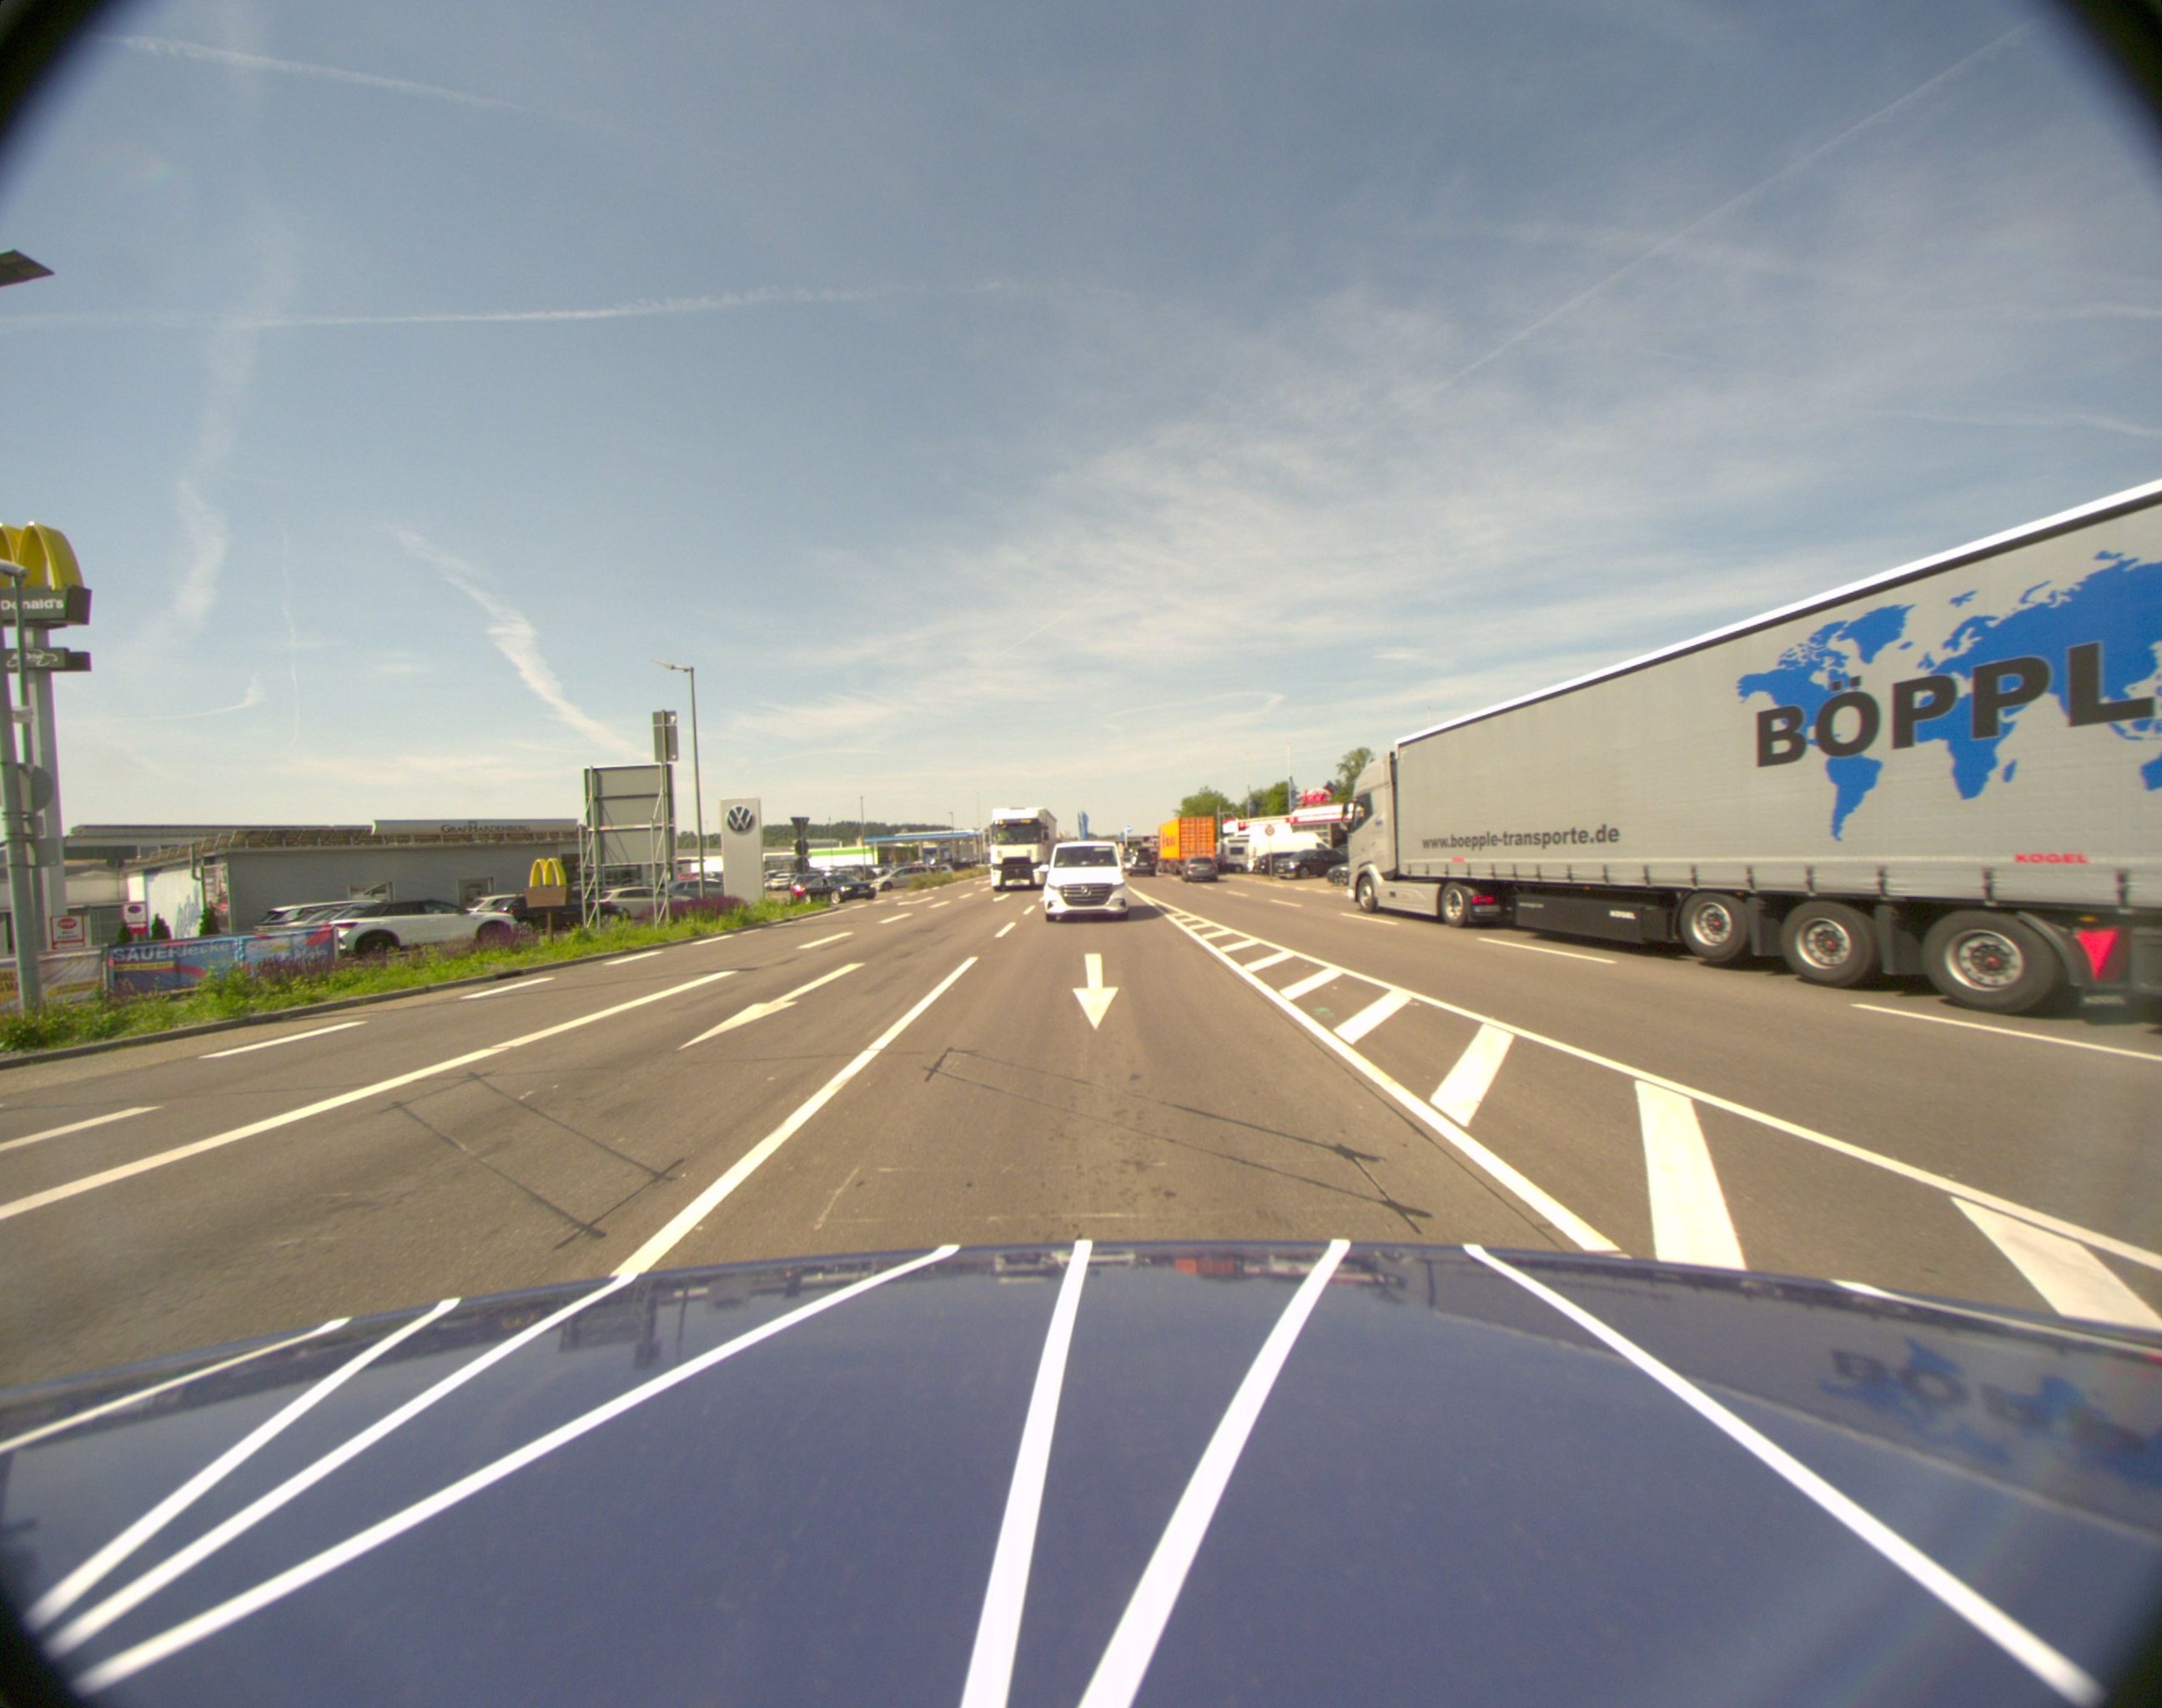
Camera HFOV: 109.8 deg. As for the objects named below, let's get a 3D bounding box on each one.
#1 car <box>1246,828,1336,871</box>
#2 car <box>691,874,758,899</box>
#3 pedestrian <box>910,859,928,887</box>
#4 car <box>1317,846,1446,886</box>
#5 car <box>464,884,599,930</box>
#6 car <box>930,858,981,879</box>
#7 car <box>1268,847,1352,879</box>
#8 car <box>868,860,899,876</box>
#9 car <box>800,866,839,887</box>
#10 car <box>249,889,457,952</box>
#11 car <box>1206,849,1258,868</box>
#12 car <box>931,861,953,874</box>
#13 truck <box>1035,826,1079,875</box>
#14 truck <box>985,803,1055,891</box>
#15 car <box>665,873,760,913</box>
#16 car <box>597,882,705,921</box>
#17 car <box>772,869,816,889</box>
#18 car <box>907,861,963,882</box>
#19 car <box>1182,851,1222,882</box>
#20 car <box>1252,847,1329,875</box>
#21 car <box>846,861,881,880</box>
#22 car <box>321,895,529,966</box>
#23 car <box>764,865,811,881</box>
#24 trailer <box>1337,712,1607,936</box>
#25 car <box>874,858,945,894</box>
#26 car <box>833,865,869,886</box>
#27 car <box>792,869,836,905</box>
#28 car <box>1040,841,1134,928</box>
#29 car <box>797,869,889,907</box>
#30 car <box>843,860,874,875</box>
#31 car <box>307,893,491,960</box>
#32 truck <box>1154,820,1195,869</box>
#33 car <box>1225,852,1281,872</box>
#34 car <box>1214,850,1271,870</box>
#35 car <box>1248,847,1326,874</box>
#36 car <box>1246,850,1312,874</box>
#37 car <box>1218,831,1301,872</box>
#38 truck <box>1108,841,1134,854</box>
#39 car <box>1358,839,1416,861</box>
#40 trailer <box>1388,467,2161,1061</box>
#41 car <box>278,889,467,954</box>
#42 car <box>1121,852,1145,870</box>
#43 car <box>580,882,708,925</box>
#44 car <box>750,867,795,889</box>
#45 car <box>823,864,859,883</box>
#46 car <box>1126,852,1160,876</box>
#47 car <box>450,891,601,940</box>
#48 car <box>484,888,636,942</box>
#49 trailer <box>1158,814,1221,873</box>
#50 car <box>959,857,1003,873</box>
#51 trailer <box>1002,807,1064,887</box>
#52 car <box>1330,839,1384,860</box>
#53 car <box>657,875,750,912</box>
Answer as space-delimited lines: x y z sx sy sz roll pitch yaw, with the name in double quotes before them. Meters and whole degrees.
"car" 14.711 -0.278 53.408 5.722 2.822 2.117 -2 0 3
"car" -25.922 2.359 55.285 4.084 1.599 1.689 -2 -1 -41
"pedestrian" -11.400 1.312 53.526 0.990 1.900 0.742 -2 1 -33
"car" 12.660 0.522 32.222 4.629 1.428 1.978 -4 0 44
"car" -21.832 2.048 30.325 1.771 1.509 3.968 -1 1 37
"car" -10.998 1.245 66.695 4.006 1.645 1.772 -2 1 -32
"car" 12.770 0.476 42.359 4.189 1.613 2.026 -2 1 -27
"car" -22.370 1.523 86.161 1.774 1.645 4.540 -2 0 6
"car" -23.028 1.991 67.121 1.968 1.645 4.536 -2 0 -3
"car" -24.704 2.157 25.977 1.907 1.661 4.827 -1 1 37
"car" 12.642 0.356 63.727 3.997 1.445 1.906 -2 1 1
"car" -18.698 1.802 102.324 1.774 1.571 4.149 -2 0 6
"truck" -1.960 -0.313 66.482 2.646 3.963 9.241 -2 0 5
"truck" -2.907 -0.342 37.985 2.647 3.963 6.042 -2 0 2
"car" -18.200 1.887 37.555 4.031 1.661 1.772 -2 1 -29
"car" -19.285 2.088 34.237 1.745 1.467 3.803 -1 1 37
"car" -25.961 2.246 68.901 1.774 1.645 4.540 -2 0 6
"car" -11.663 1.362 60.810 4.005 1.549 1.709 -2 1 -27
"car" 6.737 0.680 42.656 1.925 1.593 4.590 -1 0 5
"car" 12.549 0.398 45.661 4.044 1.521 2.031 -2 1 1
"car" -20.842 1.549 72.969 1.774 1.645 4.539 -2 0 4
"car" -18.927 2.125 22.107 1.855 1.567 4.241 -1 1 37
"car" -30.245 1.947 78.423 1.819 1.423 4.491 -1 0 23
"trailer" 8.312 -0.574 17.171 2.652 4.081 6.179 -2 0 -2
"car" -11.675 1.467 51.880 4.355 2.200 1.760 -2 1 -29
"car" -20.342 1.891 67.316 1.908 1.645 4.708 -2 0 -3
"car" -14.377 1.711 40.749 1.778 1.645 4.069 -4 1 -25
"car" 0.180 0.651 19.497 1.993 1.858 5.803 -2 0 1
"car" -11.084 1.586 35.217 1.969 1.325 4.805 -8 2 -44
"car" -27.007 1.627 92.335 1.773 1.645 4.541 -2 0 10
"car" -21.104 2.167 23.650 1.771 1.661 3.917 -1 1 37
"truck" 7.888 -0.784 65.048 2.727 3.975 6.057 -2 1 1
"car" 13.207 0.626 58.596 3.948 1.423 1.828 -2 1 3
"car" 12.957 0.479 61.158 4.258 1.459 1.874 -2 1 2
"car" 13.102 0.403 48.522 4.378 1.521 2.029 -2 1 0
"car" 13.255 0.510 51.079 3.996 1.461 1.881 -2 1 3
"car" 13.076 -0.184 55.810 5.579 2.757 2.177 -2 1 3
"truck" 9.272 -1.432 176.390 6.025 2.820 2.448 -1 1 44
"car" 24.960 -0.333 62.044 4.002 1.597 1.986 -2 0 -14
"trailer" 8.623 -0.668 10.164 2.699 4.123 13.874 -2 0 -3
"car" -22.843 2.109 24.649 1.771 1.661 4.178 -1 1 37
"car" 4.640 0.636 67.962 1.866 1.515 4.589 -1 0 1
"car" -18.272 2.017 31.966 1.744 1.483 4.272 -1 1 37
"car" -28.459 2.190 70.269 1.821 1.719 4.540 -2 0 6
"car" -23.109 1.825 73.282 1.774 1.645 4.434 -2 0 4
"car" 4.305 0.665 53.678 1.913 1.593 4.588 0 0 -1
"car" -20.624 2.228 28.372 1.791 1.442 4.163 -1 1 37
"car" -18.570 2.110 27.269 1.771 1.523 4.098 -1 1 37
"trailer" 7.971 -0.750 57.688 2.728 3.975 12.232 -2 0 -1
"car" -11.197 1.197 84.966 4.543 1.645 1.772 -2 1 -25
"trailer" -2.692 -0.391 46.097 2.613 4.203 11.292 -2 0 1
"car" 23.598 -0.348 64.956 4.002 1.610 1.873 -2 0 -17
"car" -19.578 1.996 39.462 4.007 1.661 1.916 -2 1 -36
